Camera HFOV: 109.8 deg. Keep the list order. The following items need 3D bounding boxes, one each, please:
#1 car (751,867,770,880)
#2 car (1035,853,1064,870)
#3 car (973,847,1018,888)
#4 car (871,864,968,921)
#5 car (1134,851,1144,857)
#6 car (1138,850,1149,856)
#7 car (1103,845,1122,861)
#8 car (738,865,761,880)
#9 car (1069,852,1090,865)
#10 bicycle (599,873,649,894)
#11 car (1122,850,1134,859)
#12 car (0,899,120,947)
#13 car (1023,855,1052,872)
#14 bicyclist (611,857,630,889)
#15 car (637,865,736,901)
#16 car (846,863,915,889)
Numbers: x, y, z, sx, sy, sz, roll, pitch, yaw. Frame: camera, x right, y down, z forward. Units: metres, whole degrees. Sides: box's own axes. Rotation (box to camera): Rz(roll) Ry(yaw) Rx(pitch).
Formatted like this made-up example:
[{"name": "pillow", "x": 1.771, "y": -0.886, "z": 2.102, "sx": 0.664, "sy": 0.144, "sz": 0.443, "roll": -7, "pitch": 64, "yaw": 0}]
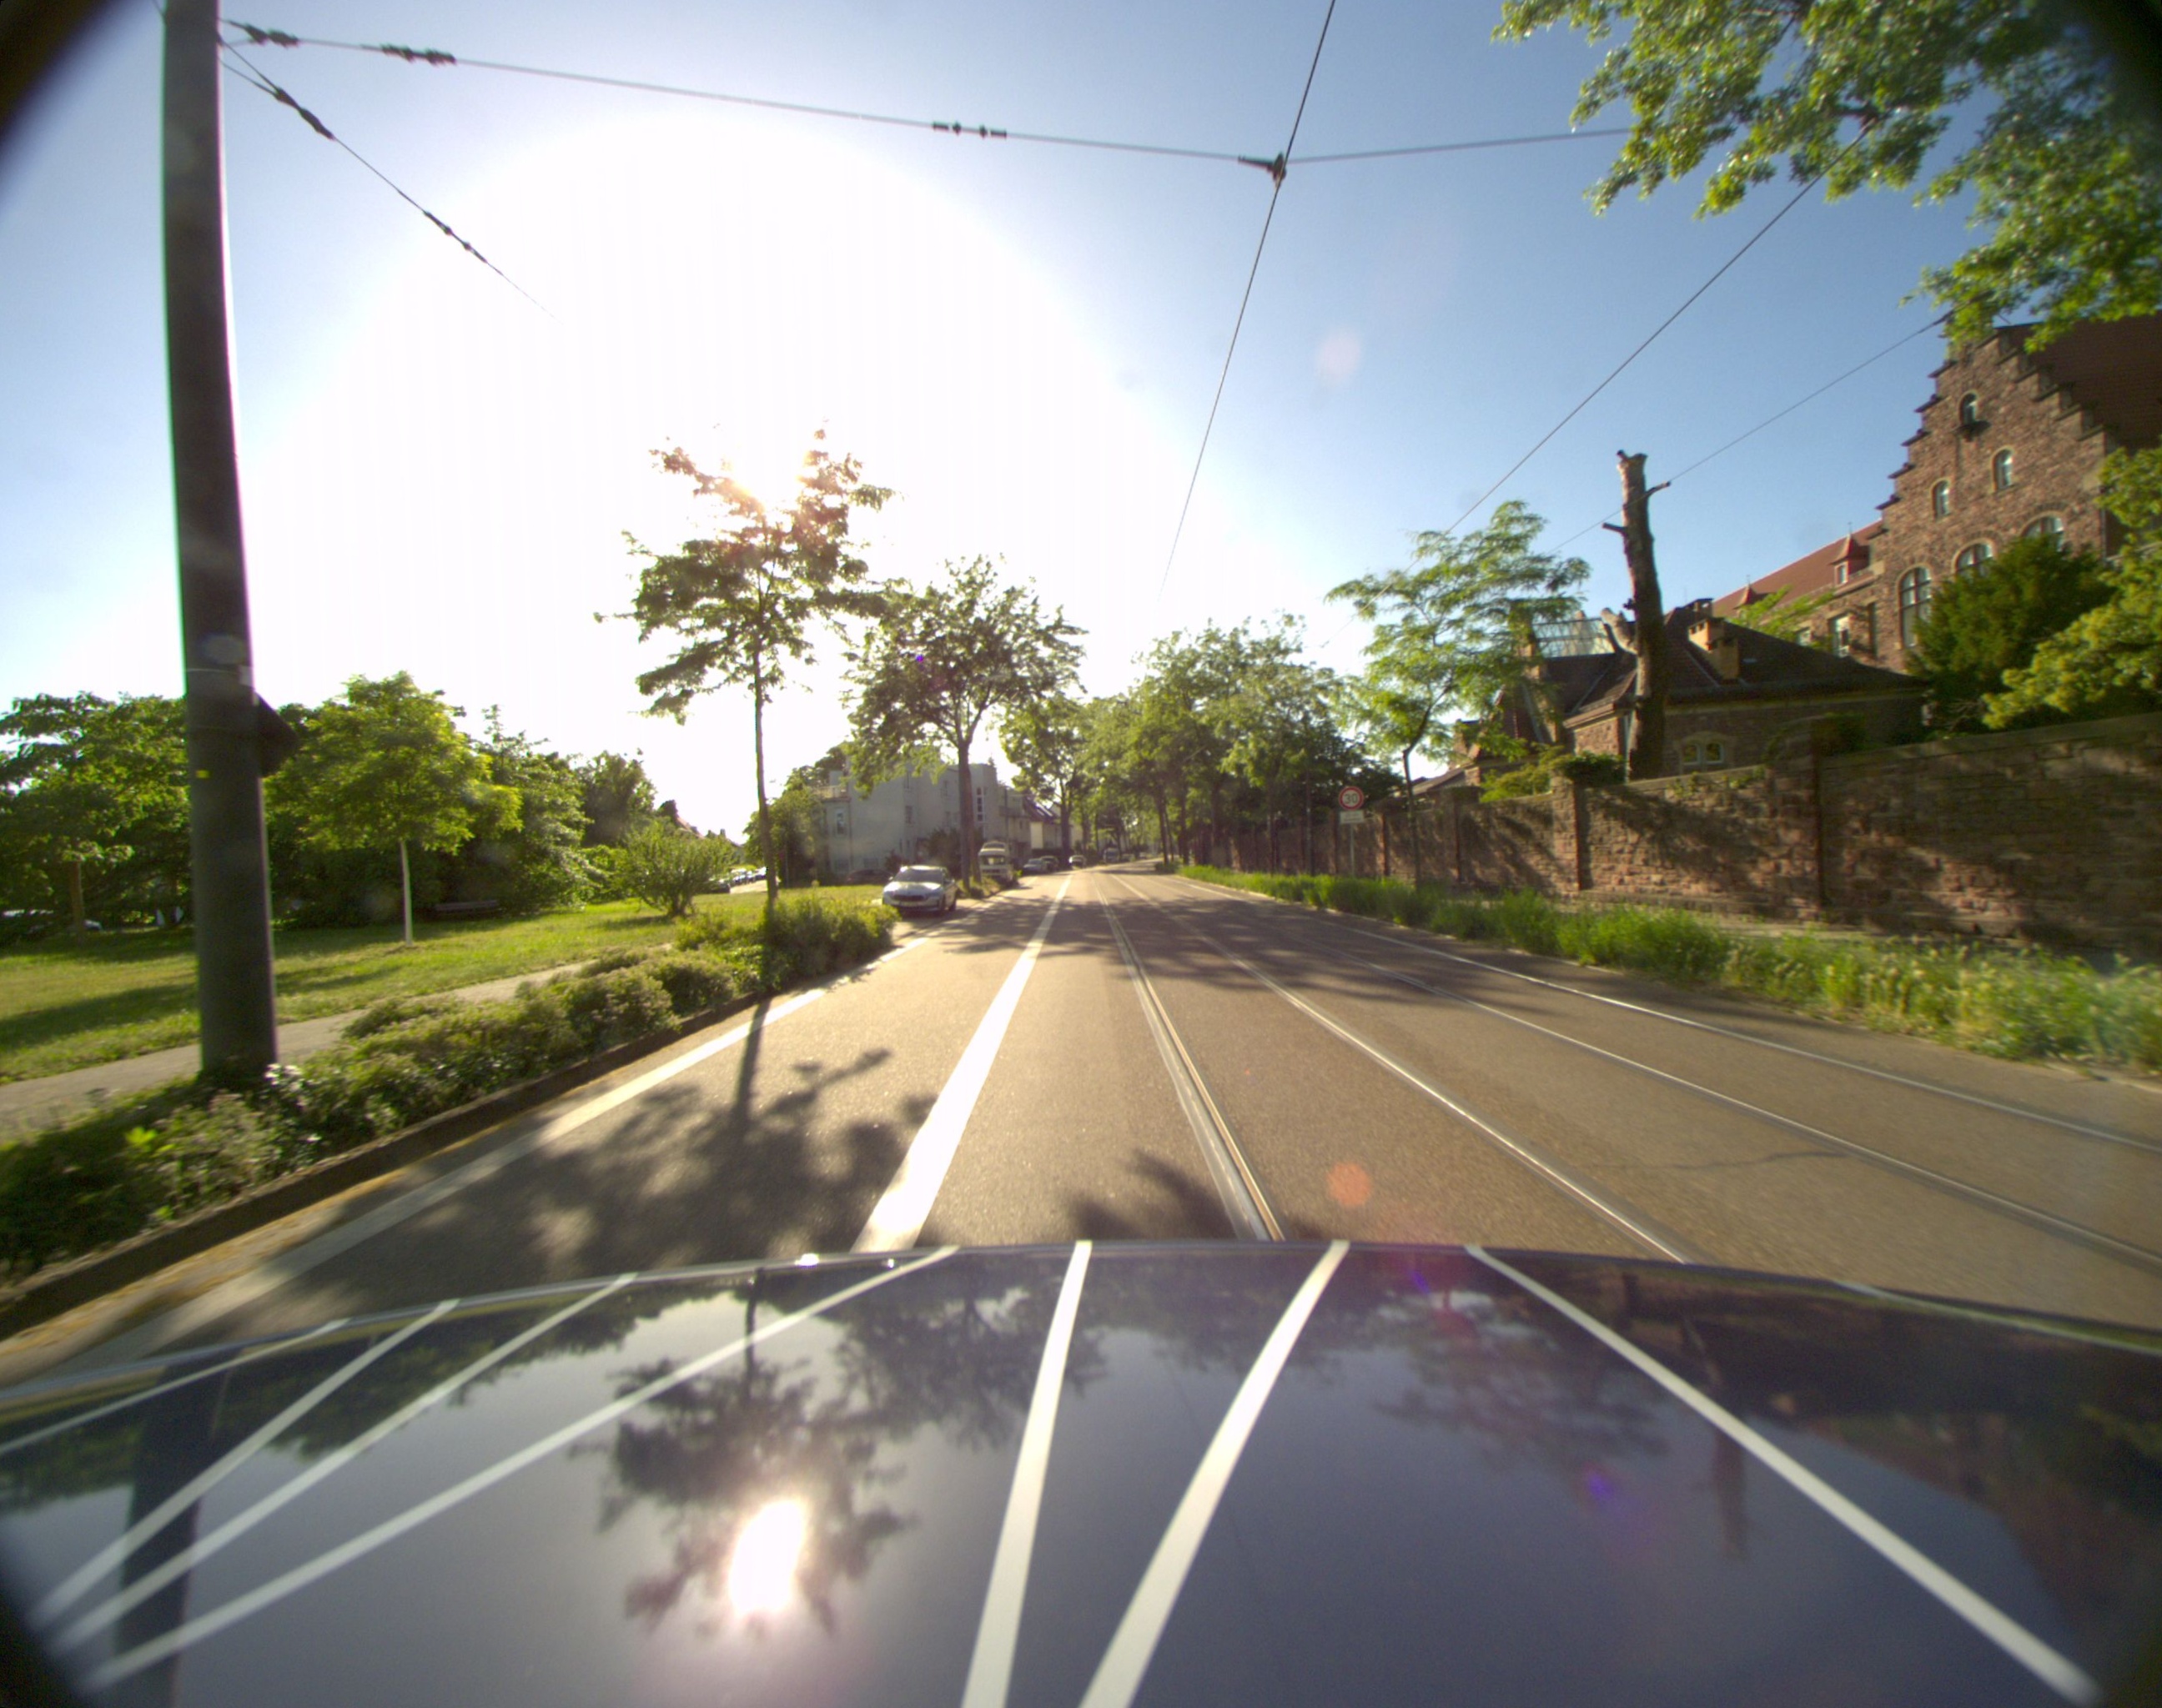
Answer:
[{"name": "car", "x": -47.856, "y": 2.896, "z": 113.536, "sx": 2.001, "sy": 1.697, "sz": 3.994, "roll": -3, "pitch": 1, "yaw": -16}, {"name": "car", "x": -3.252, "y": 0.717, "z": 78.809, "sx": 1.997, "sy": 1.607, "sz": 4.604, "roll": -2, "pitch": 1, "yaw": 11}, {"name": "car", "x": -4.724, "y": 0.703, "z": 42.550, "sx": 1.999, "sy": 2.083, "sz": 4.715, "roll": -2, "pitch": 0, "yaw": -1}, {"name": "car", "x": -4.985, "y": 1.135, "z": 24.233, "sx": 2.006, "sy": 1.457, "sz": 5.431, "roll": 1, "pitch": 1, "yaw": -1}, {"name": "car", "x": 13.147, "y": -0.010, "z": 172.691, "sx": 1.787, "sy": 1.368, "sz": 3.657, "roll": -3, "pitch": 1, "yaw": 10}, {"name": "car", "x": 14.993, "y": -0.247, "z": 181.924, "sx": 1.997, "sy": 1.474, "sz": 4.003, "roll": -2, "pitch": 0, "yaw": 10}, {"name": "car", "x": 5.384, "y": -0.237, "z": 127.876, "sx": 2.295, "sy": 2.575, "sz": 5.722, "roll": -3, "pitch": 1, "yaw": 10}, {"name": "car", "x": -41.606, "y": 2.252, "z": 95.510, "sx": 2.001, "sy": 1.684, "sz": 3.994, "roll": -3, "pitch": 1, "yaw": -16}, {"name": "car", "x": -0.187, "y": 0.557, "z": 96.008, "sx": 1.879, "sy": 1.509, "sz": 4.651, "roll": -3, "pitch": 1, "yaw": 8}, {"name": "bicycle", "x": -29.784, "y": 1.934, "z": 49.542, "sx": 2.667, "sy": 1.224, "sz": 0.798, "roll": -3, "pitch": 0, "yaw": -24}, {"name": "car", "x": 9.168, "y": 0.098, "z": 148.907, "sx": 1.662, "sy": 1.527, "sz": 4.004, "roll": -2, "pitch": 0, "yaw": 14}, {"name": "car", "x": -46.492, "y": 3.078, "z": 34.109, "sx": 2.001, "sy": 1.786, "sz": 3.995, "roll": -3, "pitch": 0, "yaw": -13}, {"name": "car", "x": -4.168, "y": 0.881, "z": 73.132, "sx": 1.741, "sy": 1.487, "sz": 4.532, "roll": -3, "pitch": 1, "yaw": 10}, {"name": "bicyclist", "x": -29.984, "y": 1.253, "z": 49.476, "sx": 0.851, "sy": 2.002, "sz": 0.825, "roll": -3, "pitch": 0, "yaw": -21}, {"name": "car", "x": -25.102, "y": 1.800, "z": 48.622, "sx": 5.216, "sy": 1.874, "sz": 2.097, "roll": -4, "pitch": 1, "yaw": -18}, {"name": "car", "x": -13.851, "y": 1.498, "z": 52.527, "sx": 4.466, "sy": 1.482, "sz": 2.005, "roll": -2, "pitch": 4, "yaw": -18}]
